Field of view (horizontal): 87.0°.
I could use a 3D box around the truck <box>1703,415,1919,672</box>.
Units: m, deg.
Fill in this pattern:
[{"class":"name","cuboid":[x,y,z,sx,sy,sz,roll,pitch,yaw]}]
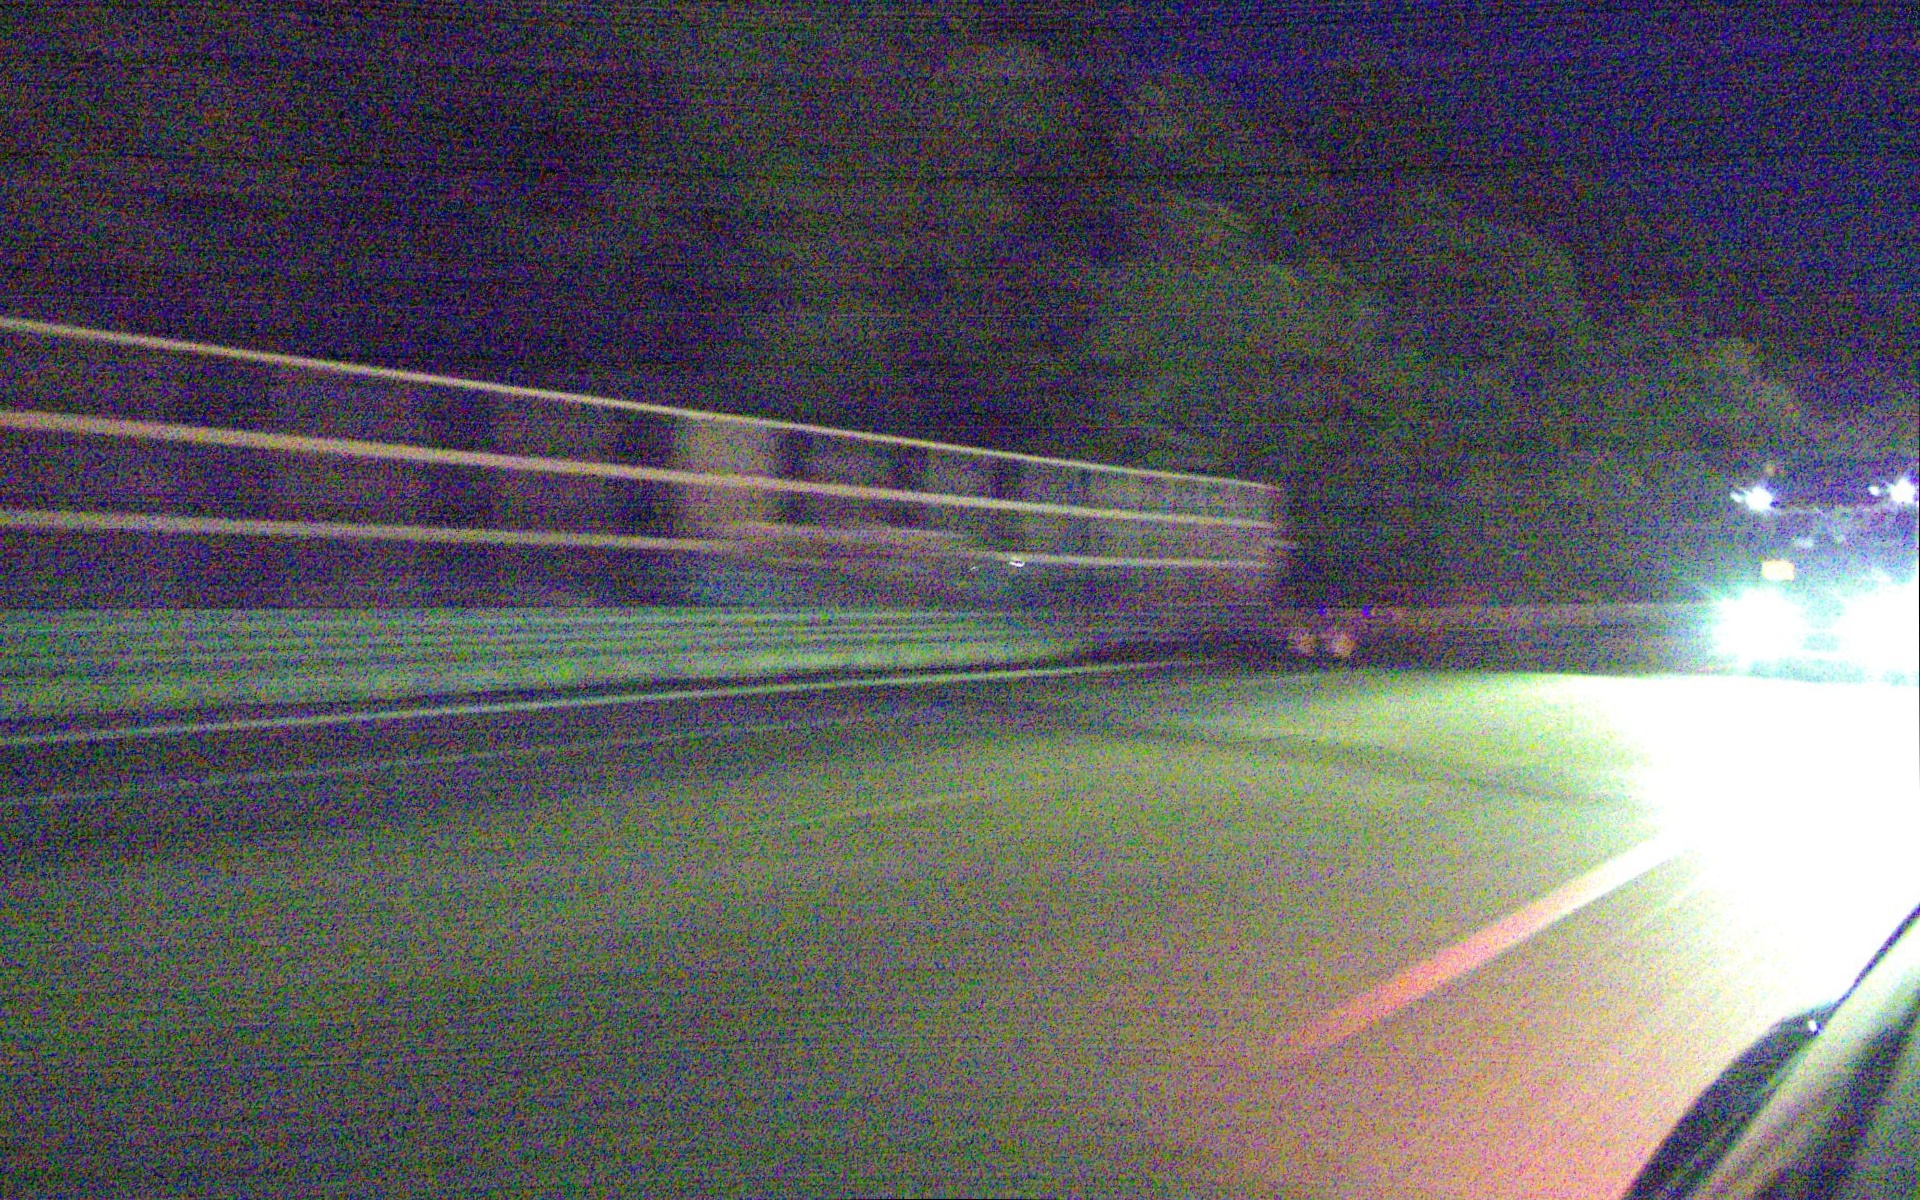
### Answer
[{"class":"truck","cuboid":[22.071,-1.347,23.138,18.376,4.184,3.492,-3,4,-39]}]
